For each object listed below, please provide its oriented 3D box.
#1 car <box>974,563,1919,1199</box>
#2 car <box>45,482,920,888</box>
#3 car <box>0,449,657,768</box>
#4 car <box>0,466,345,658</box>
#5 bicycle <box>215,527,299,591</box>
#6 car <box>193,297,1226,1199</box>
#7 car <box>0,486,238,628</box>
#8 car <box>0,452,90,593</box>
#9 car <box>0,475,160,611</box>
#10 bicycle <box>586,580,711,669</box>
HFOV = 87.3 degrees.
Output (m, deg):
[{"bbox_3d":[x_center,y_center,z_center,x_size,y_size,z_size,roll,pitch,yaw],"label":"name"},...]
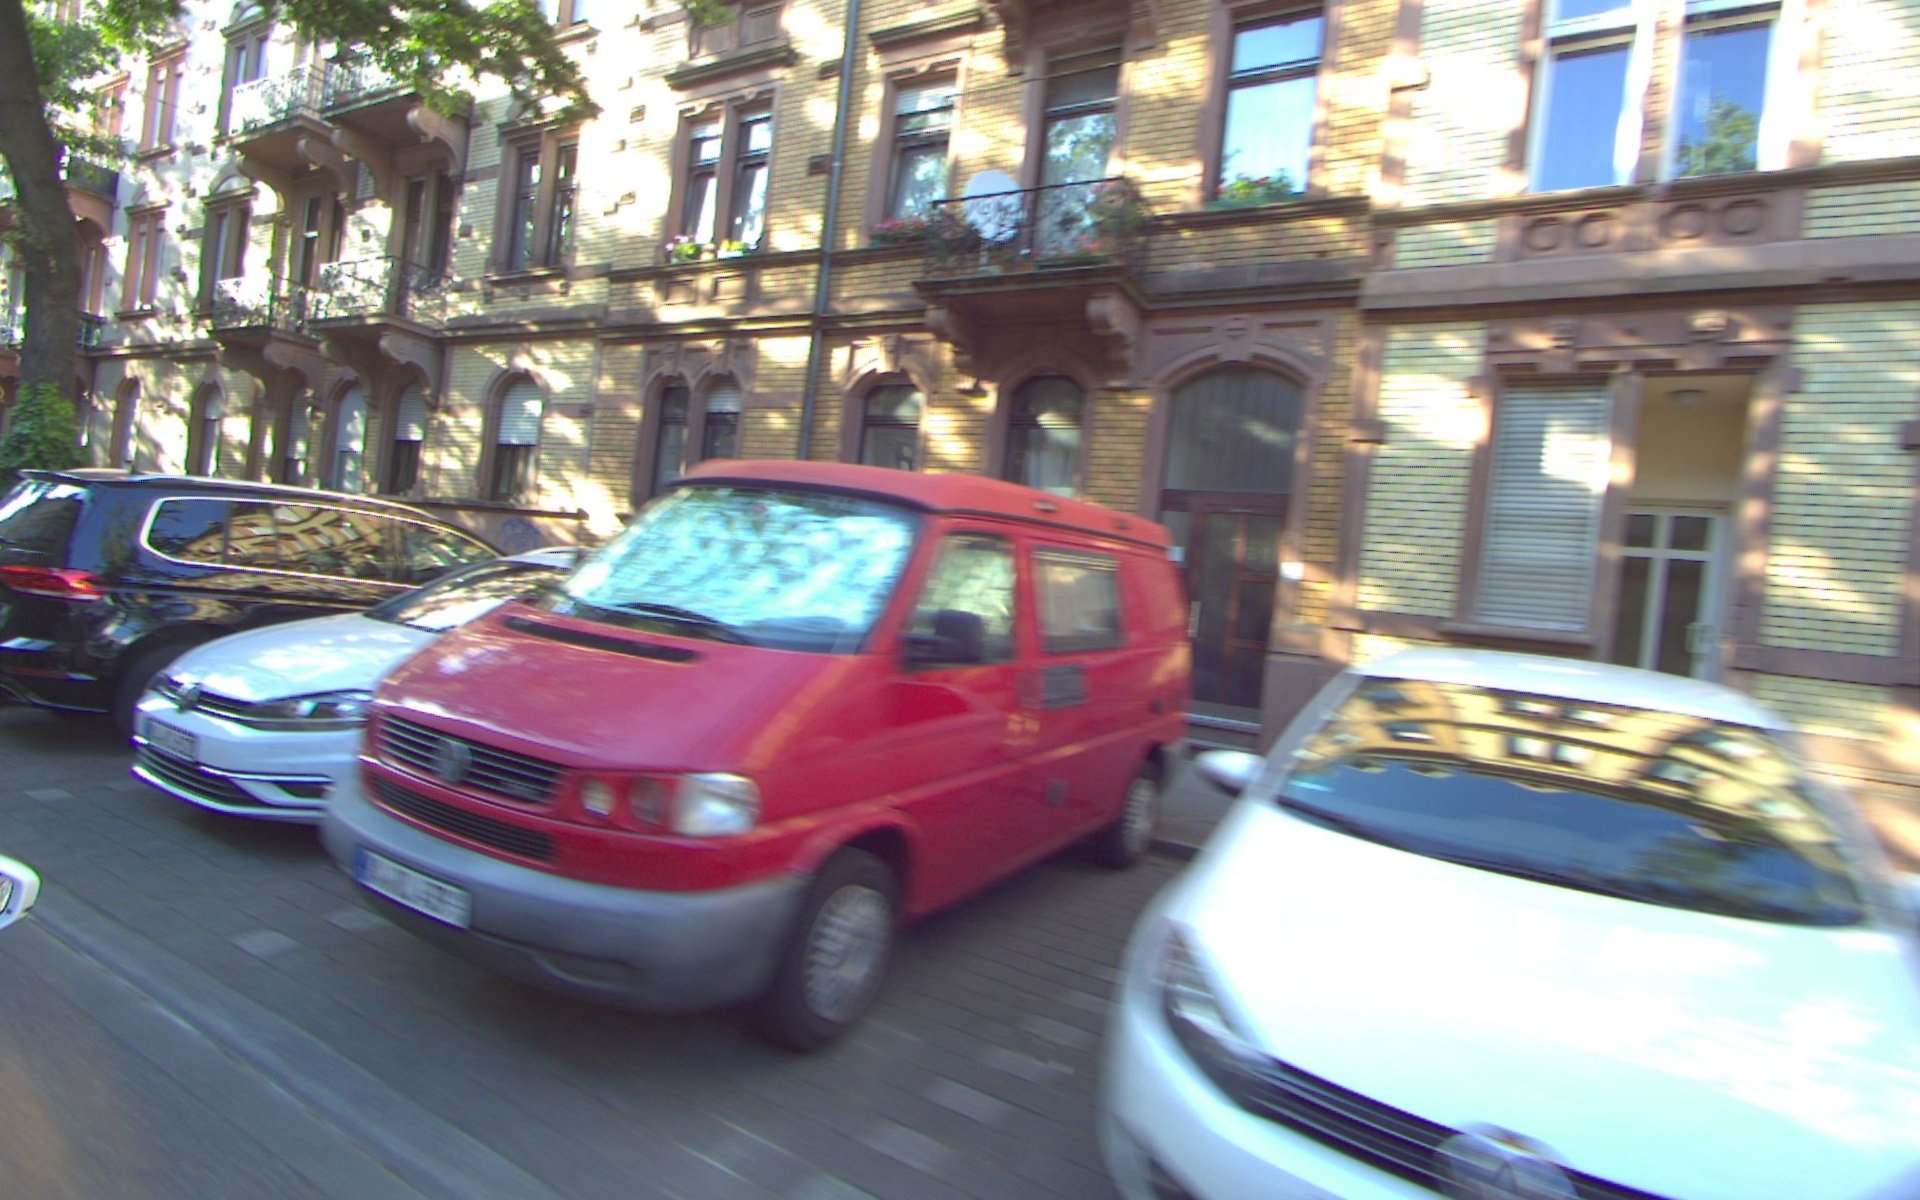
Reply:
[{"bbox_3d":[1.875,0.877,3.289,1.847,1.529,4.058,6,0,30],"label":"car"},{"bbox_3d":[-2.393,0.403,6.377,1.848,1.533,4.678,6,0,32],"label":"car"},{"bbox_3d":[-4.564,0.088,7.408,1.808,1.648,4.188,6,0,33],"label":"car"},{"bbox_3d":[-8.613,-0.360,9.836,1.774,1.648,4.016,6,0,29],"label":"car"},{"bbox_3d":[-13.290,-0.784,19.004,1.862,1.013,0.553,7,2,31],"label":"bicycle"},{"bbox_3d":[-0.390,0.394,4.734,1.847,2.059,4.680,6,0,30],"label":"car"},{"bbox_3d":[-10.696,-0.532,11.099,1.764,1.453,4.013,6,1,30],"label":"car"},{"bbox_3d":[-14.926,-1.260,13.528,1.818,1.950,4.449,8,2,28],"label":"car"},{"bbox_3d":[-12.763,-0.824,12.212,1.818,1.577,4.347,8,2,30],"label":"car"},{"bbox_3d":[-4.146,0.307,13.327,1.836,0.975,0.404,7,3,31],"label":"bicycle"}]
